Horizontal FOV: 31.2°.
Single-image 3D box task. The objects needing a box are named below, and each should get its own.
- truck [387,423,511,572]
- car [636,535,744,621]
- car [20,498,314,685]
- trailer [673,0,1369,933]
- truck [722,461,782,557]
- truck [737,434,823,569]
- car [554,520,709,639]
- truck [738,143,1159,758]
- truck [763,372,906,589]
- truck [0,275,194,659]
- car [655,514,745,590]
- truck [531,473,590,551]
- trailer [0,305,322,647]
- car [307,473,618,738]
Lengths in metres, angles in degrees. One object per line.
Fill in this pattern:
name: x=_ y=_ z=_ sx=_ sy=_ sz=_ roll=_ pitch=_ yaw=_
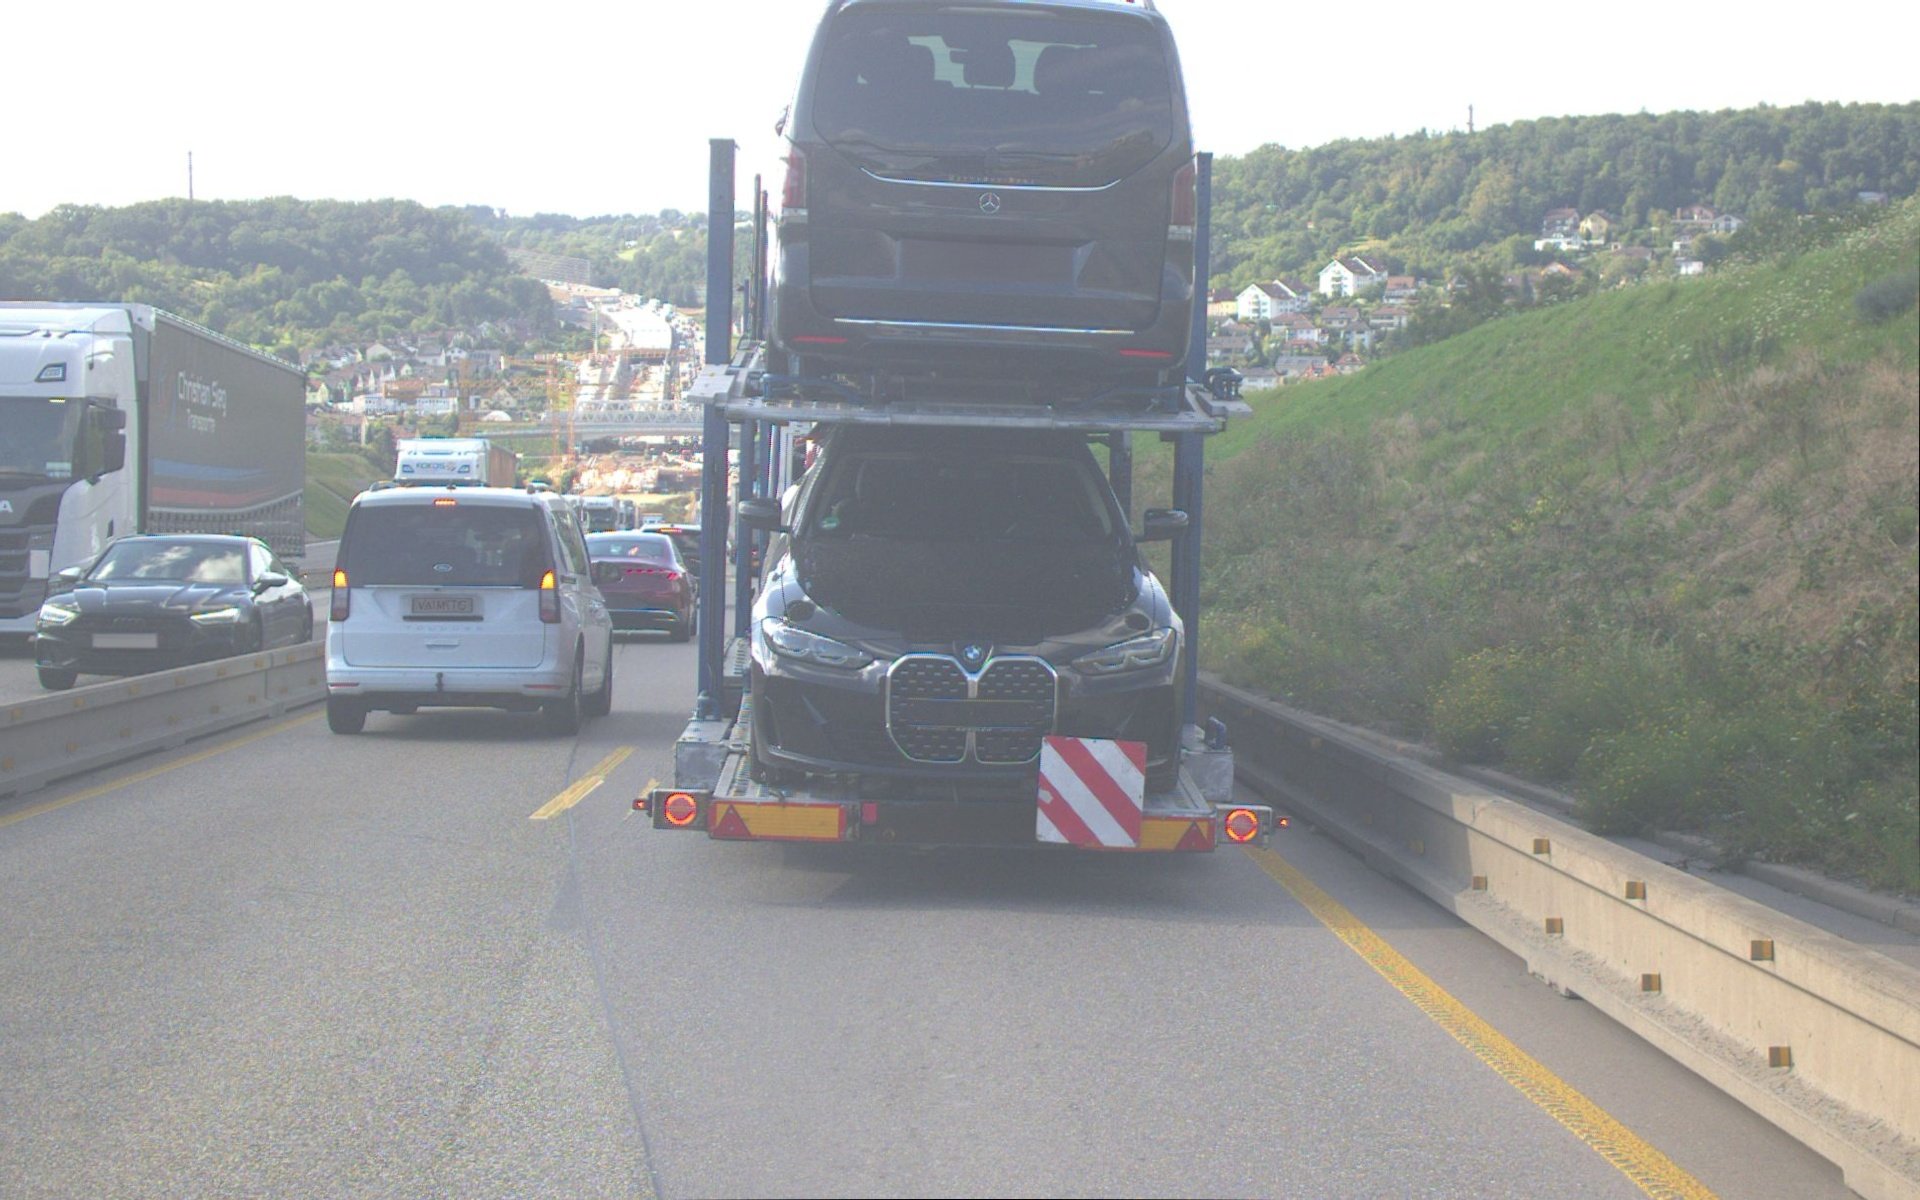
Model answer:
truck: x=-14.767 y=-2.948 z=99.957 sx=2.638 sy=4.085 sz=10.820 roll=0 pitch=1 yaw=-4
car: x=-5.325 y=-0.468 z=68.206 sx=1.993 sy=1.619 sz=4.751 roll=0 pitch=1 yaw=-3
car: x=-7.257 y=-0.075 z=31.844 sx=1.821 sy=1.598 sz=4.000 roll=1 pitch=0 yaw=-1
trailer: x=0.073 y=-0.833 z=19.138 sx=2.708 sy=4.015 sz=11.421 roll=0 pitch=1 yaw=-2
truck: x=-10.332 y=-4.475 z=170.138 sx=2.863 sy=4.555 sz=11.660 roll=0 pitch=1 yaw=-4
truck: x=-6.505 y=-3.480 z=122.822 sx=2.863 sy=4.555 sz=11.660 roll=0 pitch=1 yaw=-4
car: x=-4.470 y=-0.321 z=47.278 sx=1.823 sy=1.487 sz=4.685 roll=1 pitch=2 yaw=-2
truck: x=-0.185 y=-1.015 z=24.951 sx=2.677 sy=3.908 sz=6.028 roll=0 pitch=1 yaw=-2
truck: x=-2.971 y=-2.646 z=78.148 sx=2.863 sy=4.555 sz=11.660 roll=0 pitch=1 yaw=-4
truck: x=-10.763 y=-1.502 z=40.006 sx=2.614 sy=4.139 sz=5.782 roll=0 pitch=1 yaw=-2
car: x=-5.642 y=-1.065 z=75.046 sx=1.796 sy=1.591 sz=4.743 roll=0 pitch=1 yaw=-3
truck: x=-21.756 y=-4.793 z=187.714 sx=2.638 sy=4.085 sz=10.820 roll=0 pitch=1 yaw=-4
trailer: x=-10.990 y=-1.589 z=46.606 sx=2.614 sy=3.940 sz=13.876 roll=0 pitch=1 yaw=-2
car: x=-3.723 y=-0.024 z=26.407 sx=1.823 sy=1.817 sz=4.457 roll=1 pitch=2 yaw=-2
